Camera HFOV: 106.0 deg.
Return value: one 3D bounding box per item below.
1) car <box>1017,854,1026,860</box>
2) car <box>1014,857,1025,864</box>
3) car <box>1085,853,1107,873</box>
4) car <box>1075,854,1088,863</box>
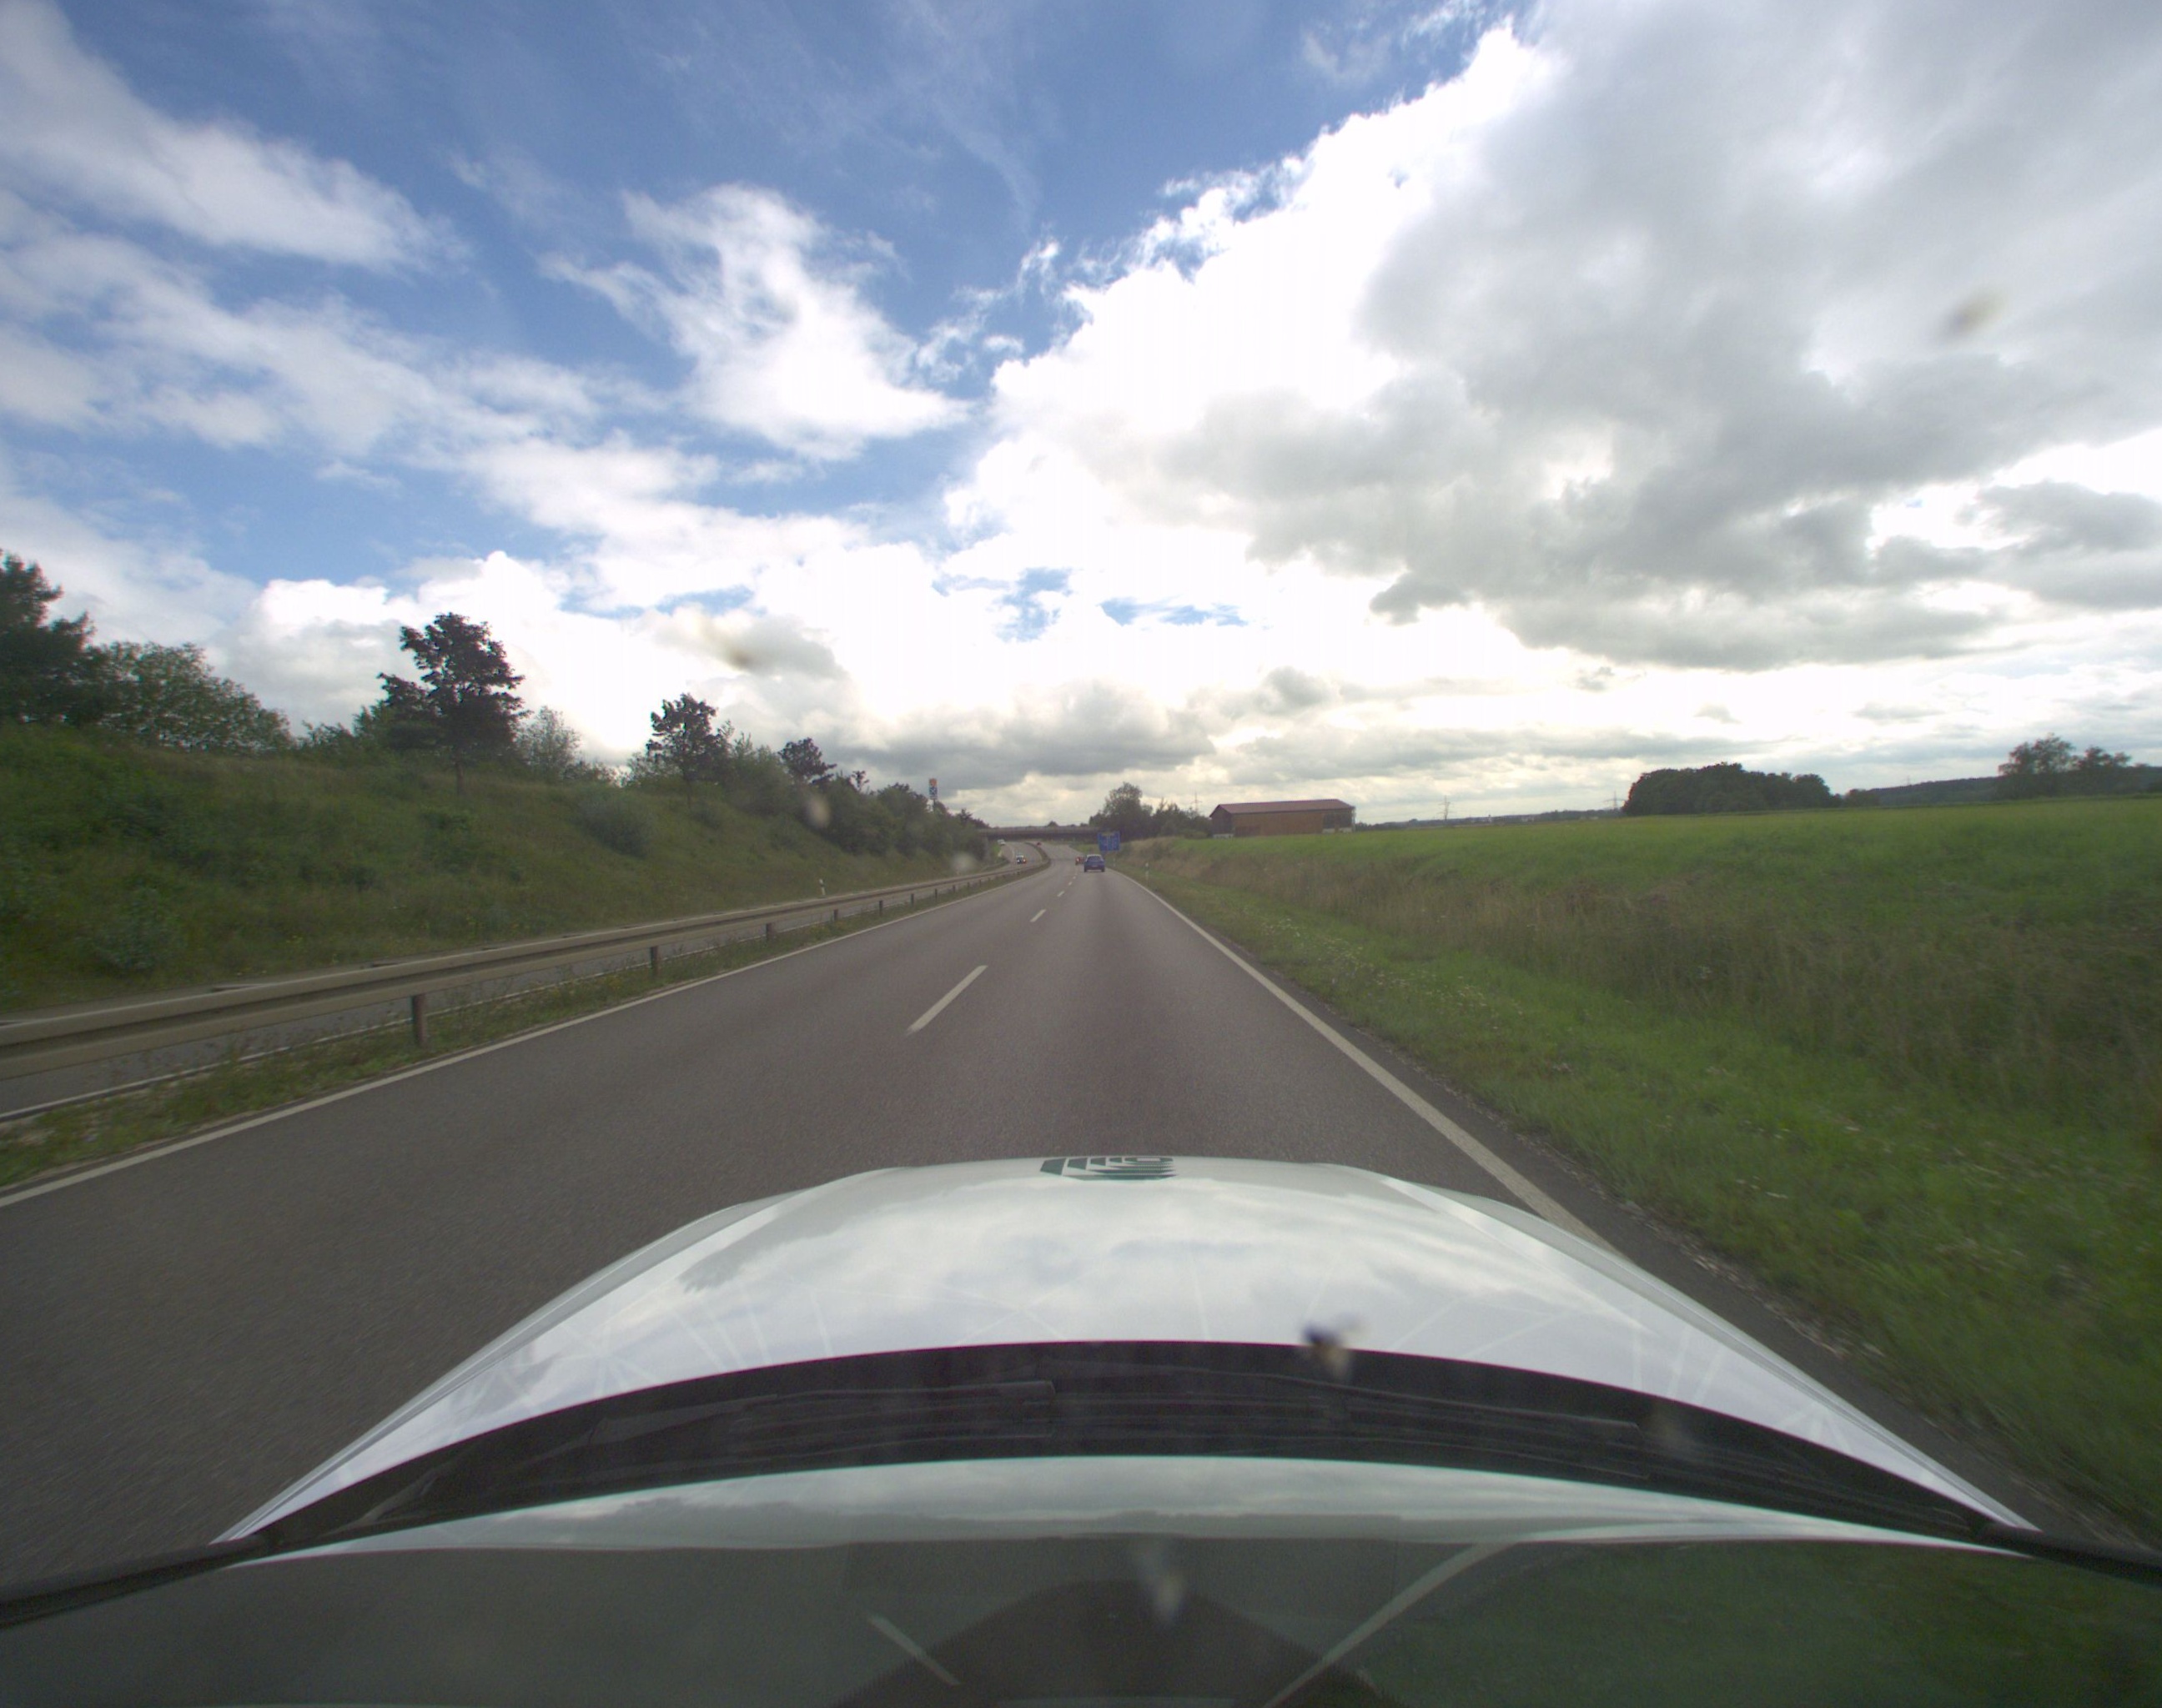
[{"bbox_3d":[-15.022,0.739,207.294,1.988,1.453,3.999,-3,1,-1],"label":"car"},{"bbox_3d":[-12.876,1.434,171.068,1.987,1.304,4.821,-3,0,0],"label":"car"},{"bbox_3d":[1.409,0.823,76.889,2.026,1.660,4.544,-1,1,1],"label":"car"},{"bbox_3d":[0.100,0.743,135.397,1.912,1.453,4.360,-3,1,-2],"label":"car"}]
